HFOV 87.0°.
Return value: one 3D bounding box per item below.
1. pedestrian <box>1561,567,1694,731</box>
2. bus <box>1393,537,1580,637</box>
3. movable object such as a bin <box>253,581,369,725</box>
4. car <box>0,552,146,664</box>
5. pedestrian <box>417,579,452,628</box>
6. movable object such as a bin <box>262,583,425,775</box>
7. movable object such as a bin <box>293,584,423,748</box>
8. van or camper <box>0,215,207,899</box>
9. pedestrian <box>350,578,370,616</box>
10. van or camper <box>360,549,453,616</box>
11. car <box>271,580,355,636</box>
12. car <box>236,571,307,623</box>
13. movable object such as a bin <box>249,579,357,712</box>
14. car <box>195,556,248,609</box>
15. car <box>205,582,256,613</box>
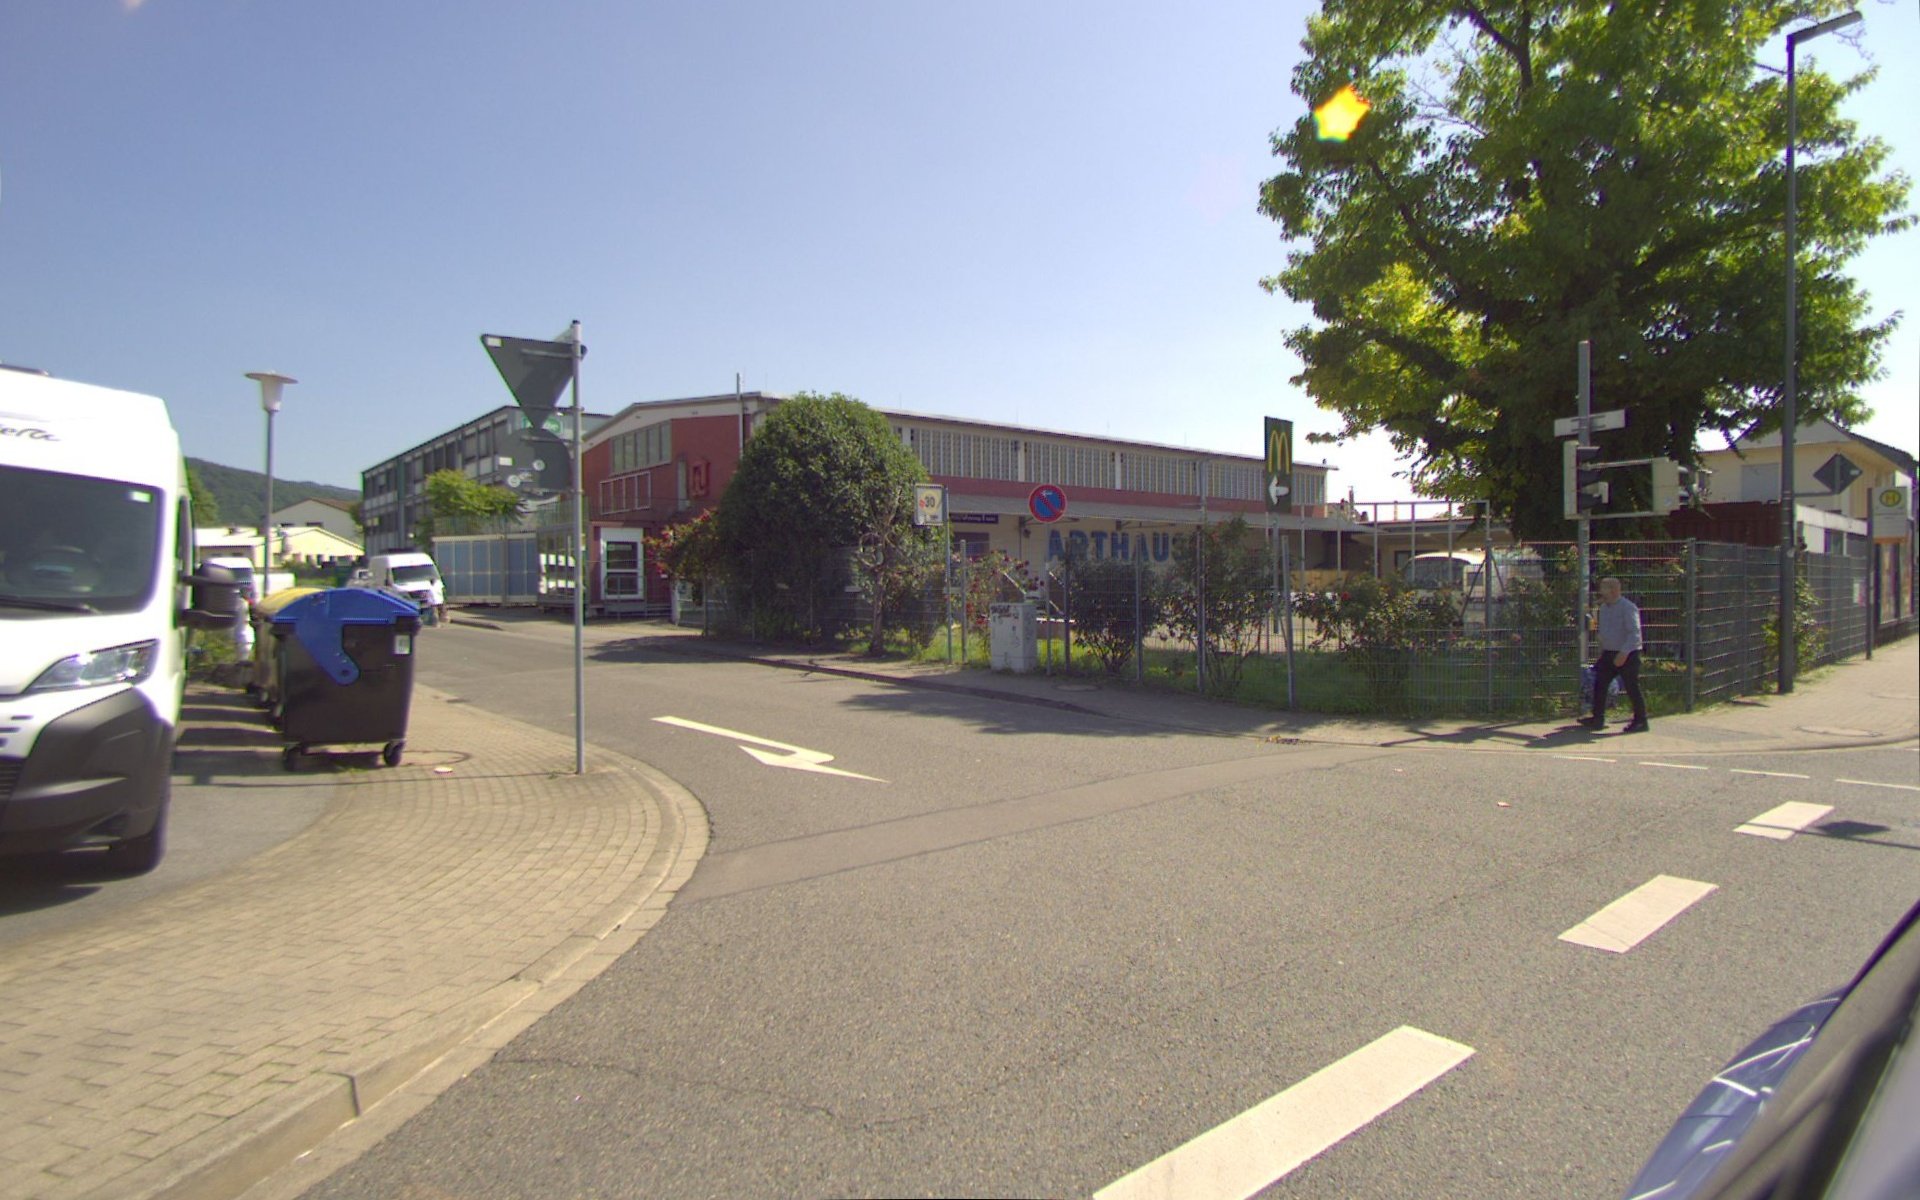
[{"bbox_3d":[7.291,0.508,11.090,0.869,1.720,0.817,0,1,-10],"label":"pedestrian"},{"bbox_3d":[19.627,-0.646,37.326,10.092,3.210,2.570,-4,3,-41],"label":"bus"},{"bbox_3d":[-7.233,0.554,11.297,1.000,1.494,1.240,2,-1,-33],"label":"movable object such as a bin"},{"bbox_3d":[-13.998,0.106,15.665,1.786,1.535,3.886,3,-1,-44],"label":"car"},{"bbox_3d":[-17.438,0.091,33.571,0.868,1.599,0.789,0,0,-40],"label":"pedestrian"},{"bbox_3d":[-5.172,0.614,8.581,1.057,1.475,1.258,2,-1,-29],"label":"movable object such as a bin"},{"bbox_3d":[-5.882,0.600,9.932,0.999,1.475,1.291,2,-1,-30],"label":"movable object such as a bin"},{"bbox_3d":[-5.939,-0.199,6.213,2.009,2.850,5.522,2,-1,-37],"label":"van or camper"},{"bbox_3d":[-27.576,-0.154,46.540,0.697,1.709,0.652,0,0,-41],"label":"pedestrian"},{"bbox_3d":[-24.105,-0.737,43.925,2.305,2.713,6.734,-1,1,-40],"label":"van or camper"},{"bbox_3d":[-19.452,0.189,30.363,1.858,1.571,3.998,-1,1,-37],"label":"car"},{"bbox_3d":[-24.993,-0.118,36.664,1.963,1.761,4.296,-1,1,-37],"label":"car"},{"bbox_3d":[-8.200,0.531,12.652,1.043,1.551,1.335,2,-1,-33],"label":"movable object such as a bin"},{"bbox_3d":[-37.545,-0.882,51.460,2.072,2.558,5.604,0,1,-37],"label":"car"},{"bbox_3d":[-33.637,-0.140,46.653,1.858,1.400,3.998,-1,1,-37],"label":"car"}]
